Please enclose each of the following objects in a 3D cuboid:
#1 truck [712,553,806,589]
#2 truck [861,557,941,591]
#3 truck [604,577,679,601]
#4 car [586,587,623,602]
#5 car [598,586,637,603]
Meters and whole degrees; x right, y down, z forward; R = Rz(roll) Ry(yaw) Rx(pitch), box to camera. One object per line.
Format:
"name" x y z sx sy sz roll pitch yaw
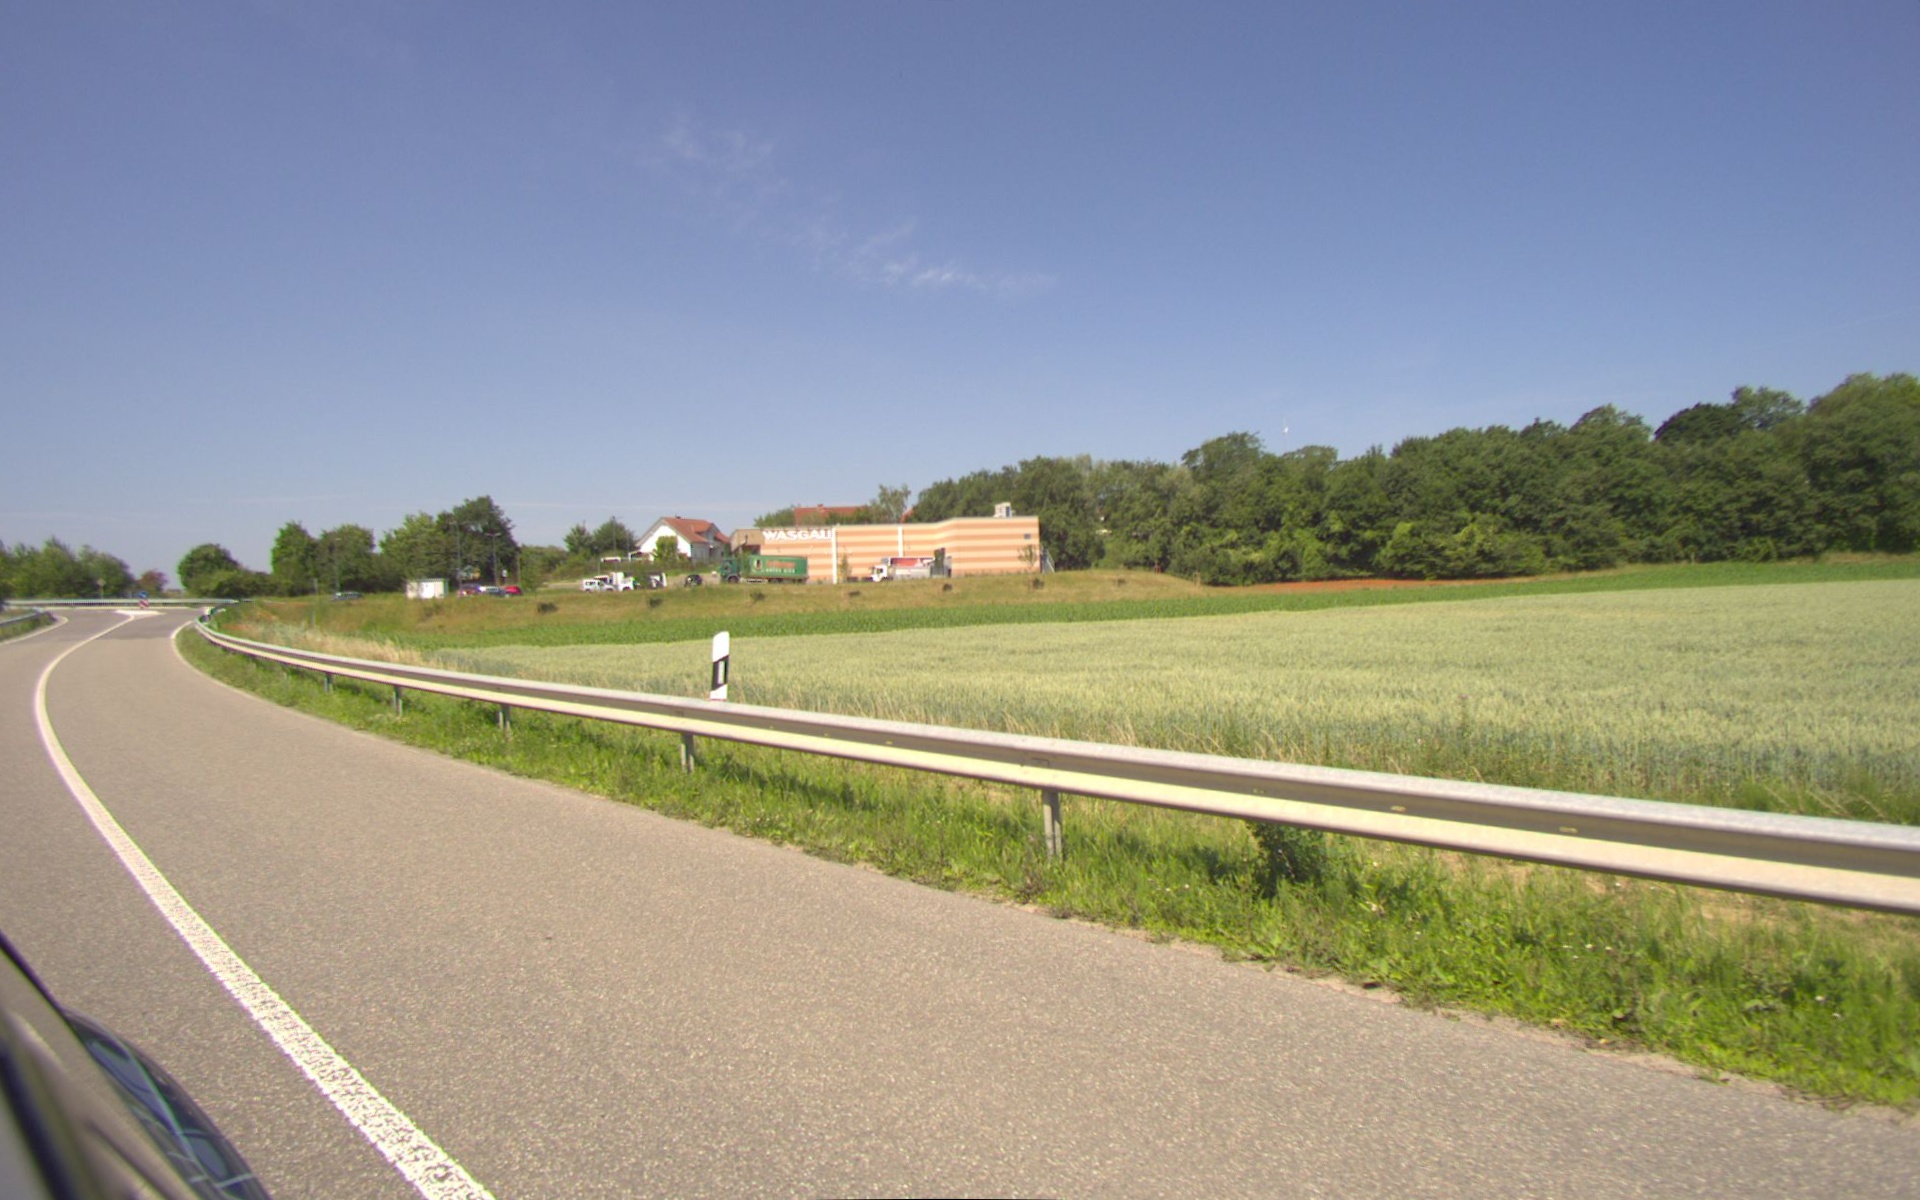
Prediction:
"truck" -21.926 -3.214 110.484 9.781 3.502 2.885 -3 3 -10
"truck" -6.860 -3.061 117.776 8.734 3.590 2.887 -3 3 -14
"truck" -48.752 -1.723 154.975 10.539 3.214 2.455 -4 3 -30
"car" -44.783 -0.714 127.638 4.260 1.609 2.006 -3 3 -17
"car" -40.664 -0.644 120.276 4.260 1.716 2.006 -3 3 -16
